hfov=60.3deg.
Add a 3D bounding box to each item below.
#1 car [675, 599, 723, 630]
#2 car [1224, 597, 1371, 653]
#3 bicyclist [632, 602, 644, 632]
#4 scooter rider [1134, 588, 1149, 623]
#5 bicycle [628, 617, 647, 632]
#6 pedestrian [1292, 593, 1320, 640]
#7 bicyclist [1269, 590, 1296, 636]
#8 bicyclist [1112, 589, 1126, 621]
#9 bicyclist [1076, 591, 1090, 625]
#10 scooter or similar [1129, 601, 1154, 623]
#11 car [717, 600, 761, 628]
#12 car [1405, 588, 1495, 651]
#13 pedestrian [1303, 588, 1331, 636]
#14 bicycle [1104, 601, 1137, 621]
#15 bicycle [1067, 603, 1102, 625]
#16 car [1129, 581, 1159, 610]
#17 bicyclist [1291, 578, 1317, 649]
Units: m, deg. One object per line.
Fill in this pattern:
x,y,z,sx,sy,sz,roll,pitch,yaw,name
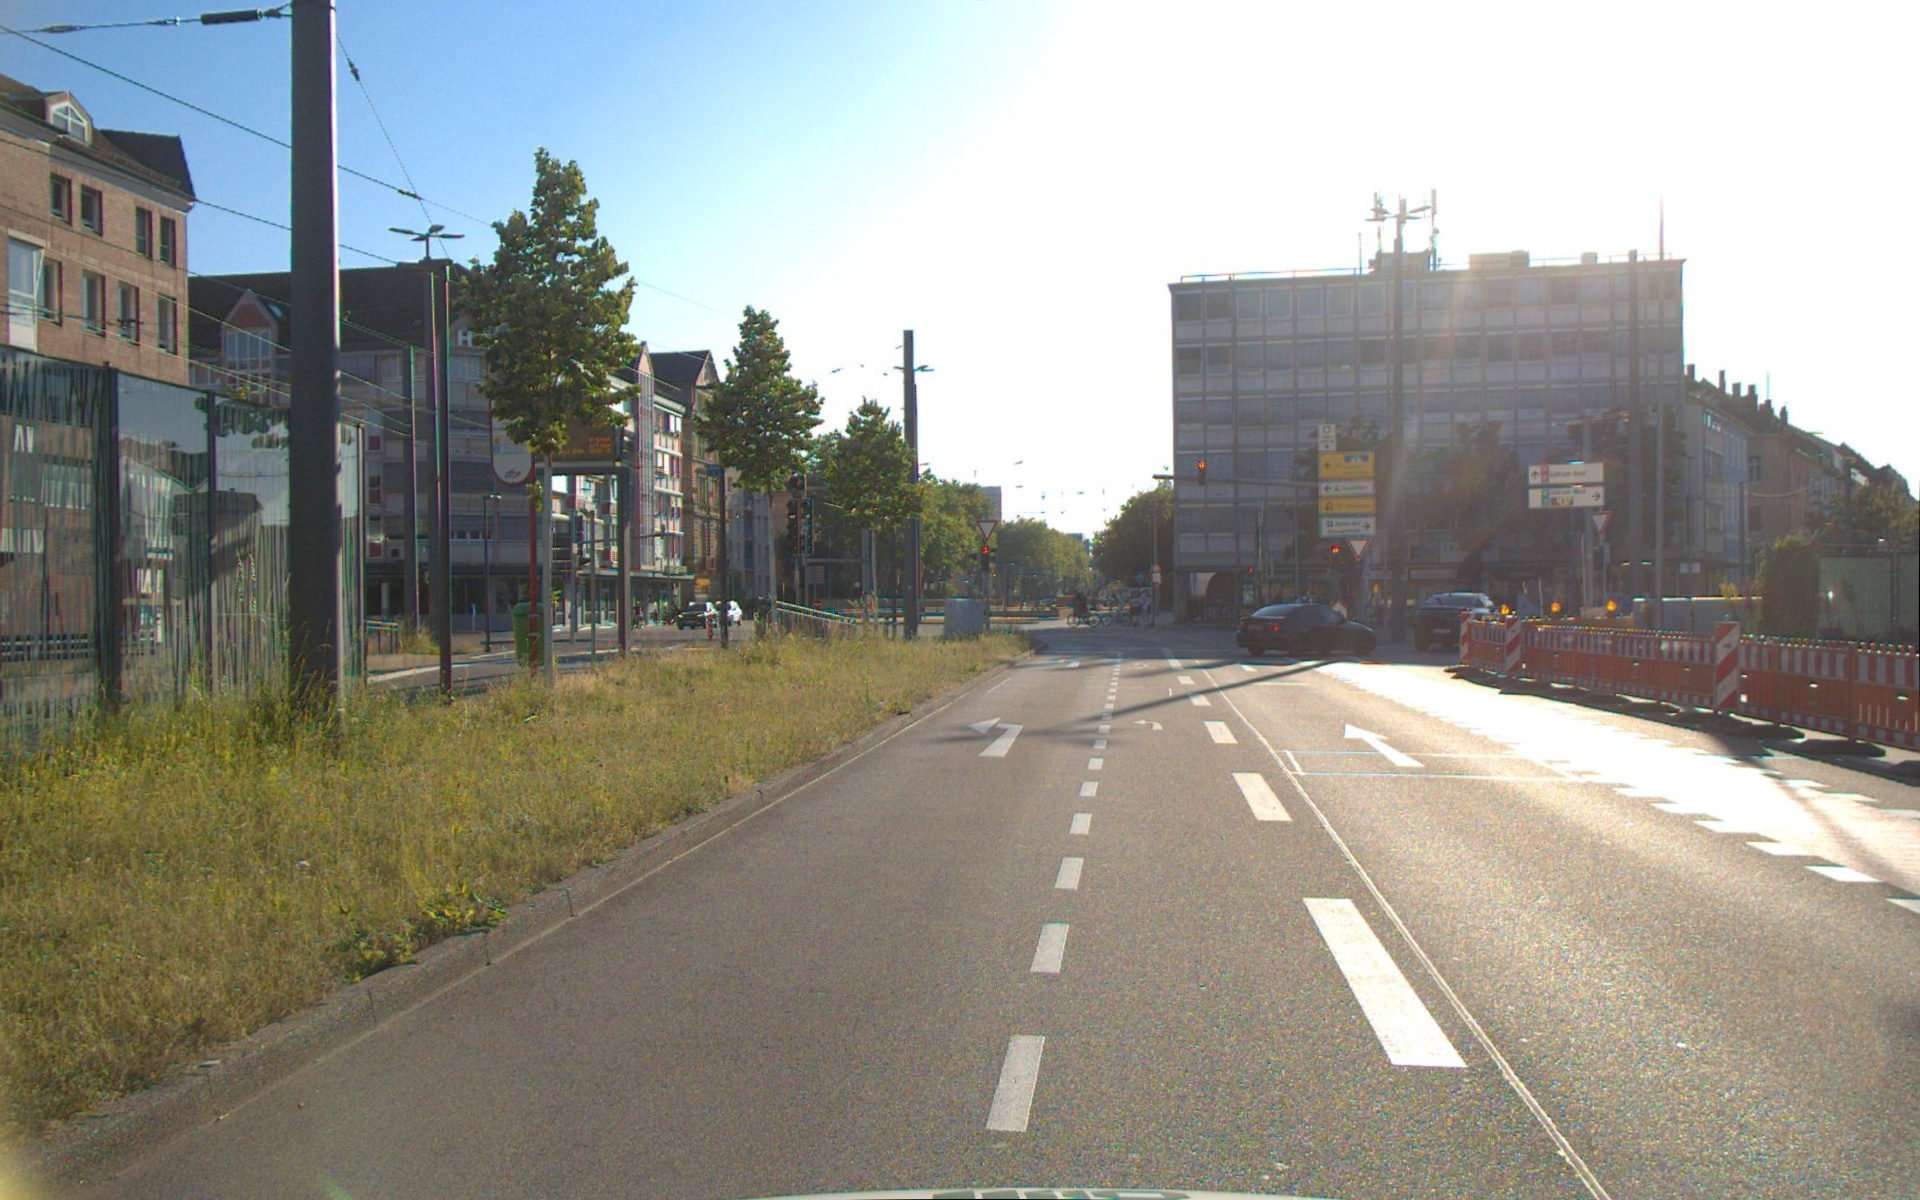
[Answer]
-16.858,0.926,107.125,1.951,1.892,4.003,-1,0,8,car
9.238,0.644,45.163,3.955,1.451,1.727,0,0,-36,car
-20.111,1.063,103.281,0.580,1.894,0.642,-1,0,7,bicyclist
9.249,0.274,84.432,0.650,1.742,0.526,-1,0,-4,scooter rider
-20.119,1.534,103.208,0.585,0.931,1.837,-1,0,7,bicycle
12.101,0.567,57.908,0.860,1.625,0.655,-1,0,4,pedestrian
12.014,0.493,61.634,0.938,1.690,0.692,0,0,9,bicyclist
8.717,0.272,90.535,0.650,1.742,0.538,-1,0,-4,bicyclist
6.379,0.392,85.716,0.650,1.742,0.538,-1,0,-4,bicyclist
9.273,0.608,84.435,1.148,1.091,0.529,-1,0,-4,scooter or similar
-15.366,0.946,115.189,1.951,1.892,4.003,-1,0,8,car
14.757,0.548,49.687,1.955,1.723,3.996,1,1,26,car
12.343,0.424,57.190,0.860,1.625,0.655,-1,0,4,pedestrian
8.778,0.612,90.537,1.698,1.078,0.539,-1,0,-4,bicycle
6.437,0.737,85.717,1.740,1.091,0.535,-1,0,-4,bicycle
16.297,-0.358,146.640,2.433,2.434,5.938,-2,-1,5,car
10.239,0.396,49.285,0.630,2.048,1.068,1,1,6,bicyclist
